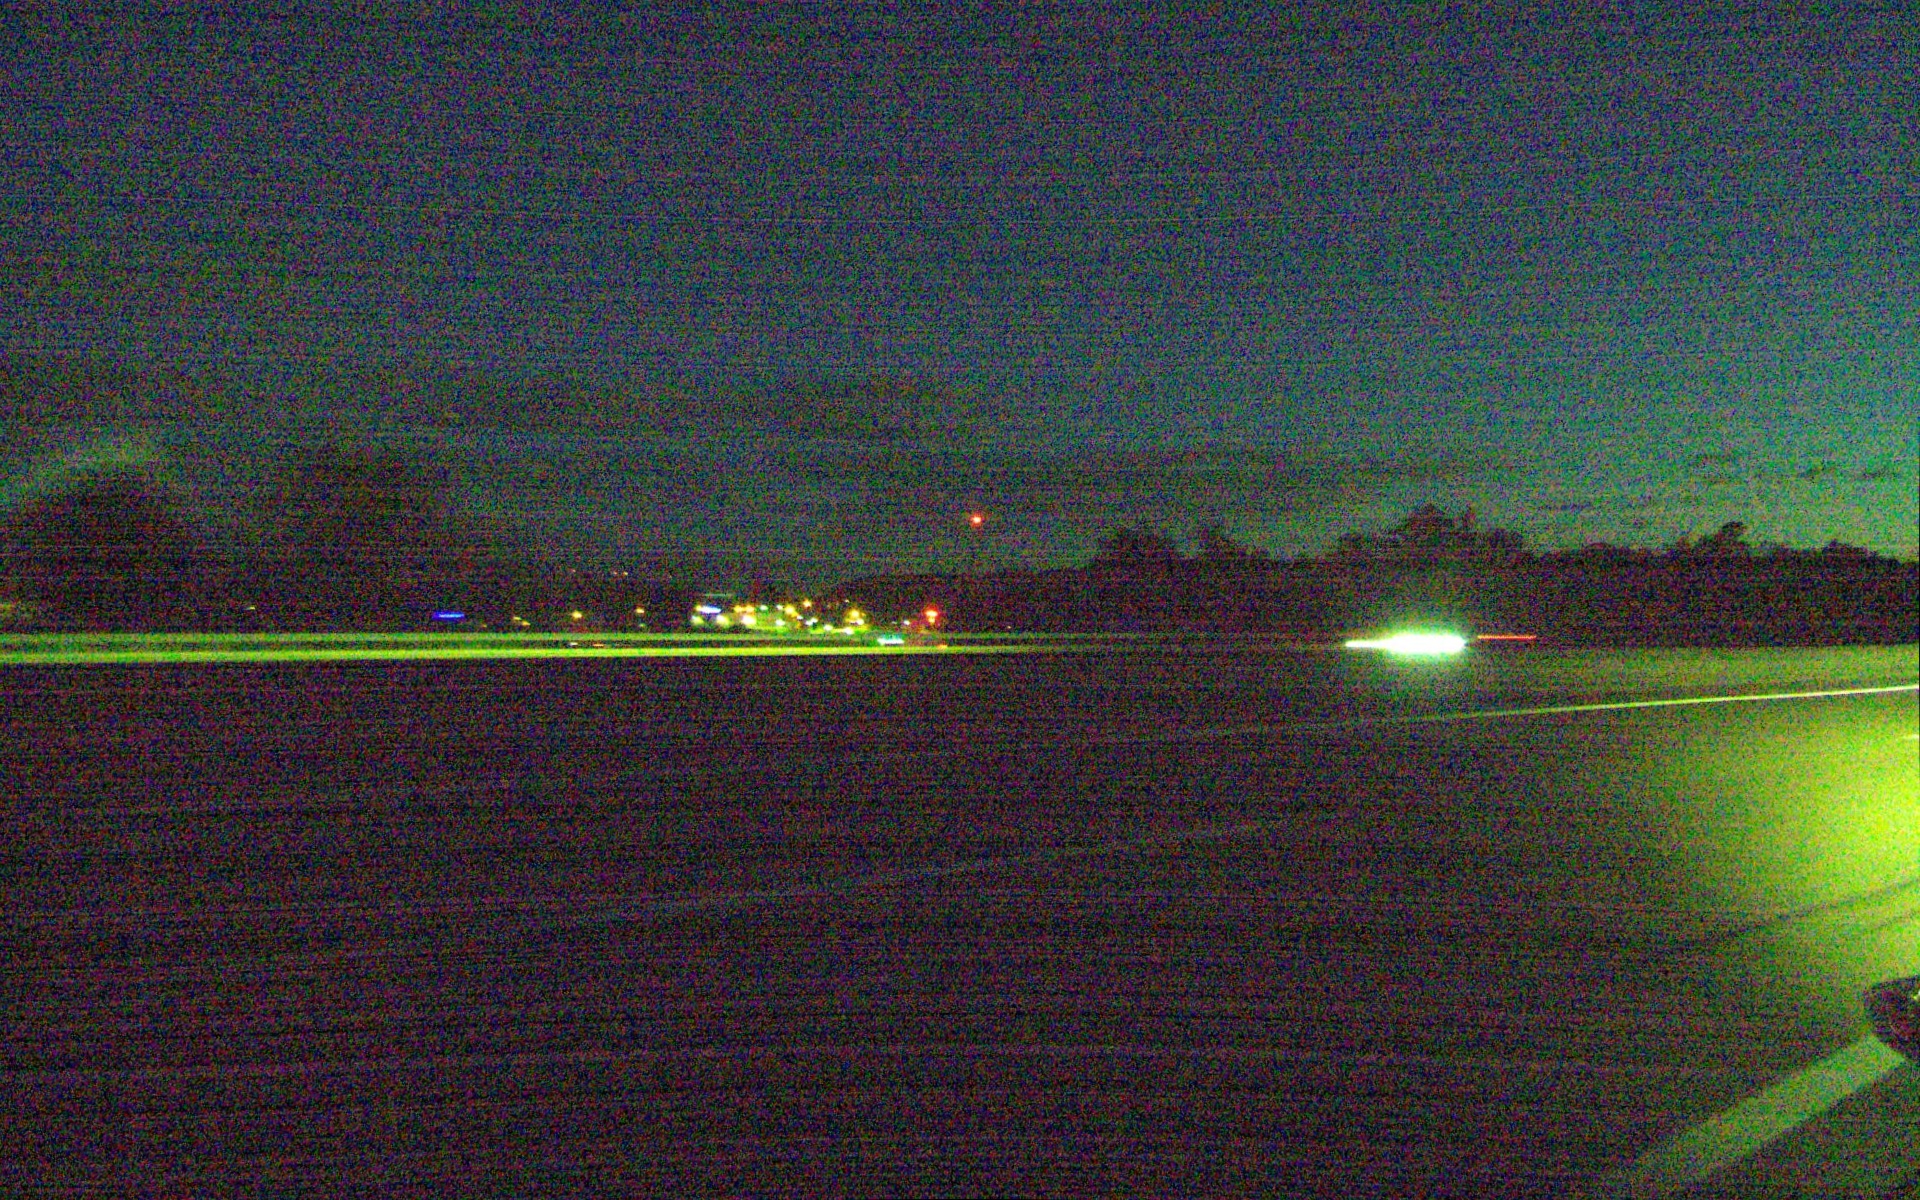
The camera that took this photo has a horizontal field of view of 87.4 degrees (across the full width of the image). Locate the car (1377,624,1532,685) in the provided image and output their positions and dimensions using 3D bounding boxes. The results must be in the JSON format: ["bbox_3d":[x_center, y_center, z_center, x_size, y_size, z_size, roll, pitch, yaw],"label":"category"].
[{"bbox_3d":[15.759,1.691,31.943,5.012,1.768,1.984,1,0,-30],"label":"car"}]
